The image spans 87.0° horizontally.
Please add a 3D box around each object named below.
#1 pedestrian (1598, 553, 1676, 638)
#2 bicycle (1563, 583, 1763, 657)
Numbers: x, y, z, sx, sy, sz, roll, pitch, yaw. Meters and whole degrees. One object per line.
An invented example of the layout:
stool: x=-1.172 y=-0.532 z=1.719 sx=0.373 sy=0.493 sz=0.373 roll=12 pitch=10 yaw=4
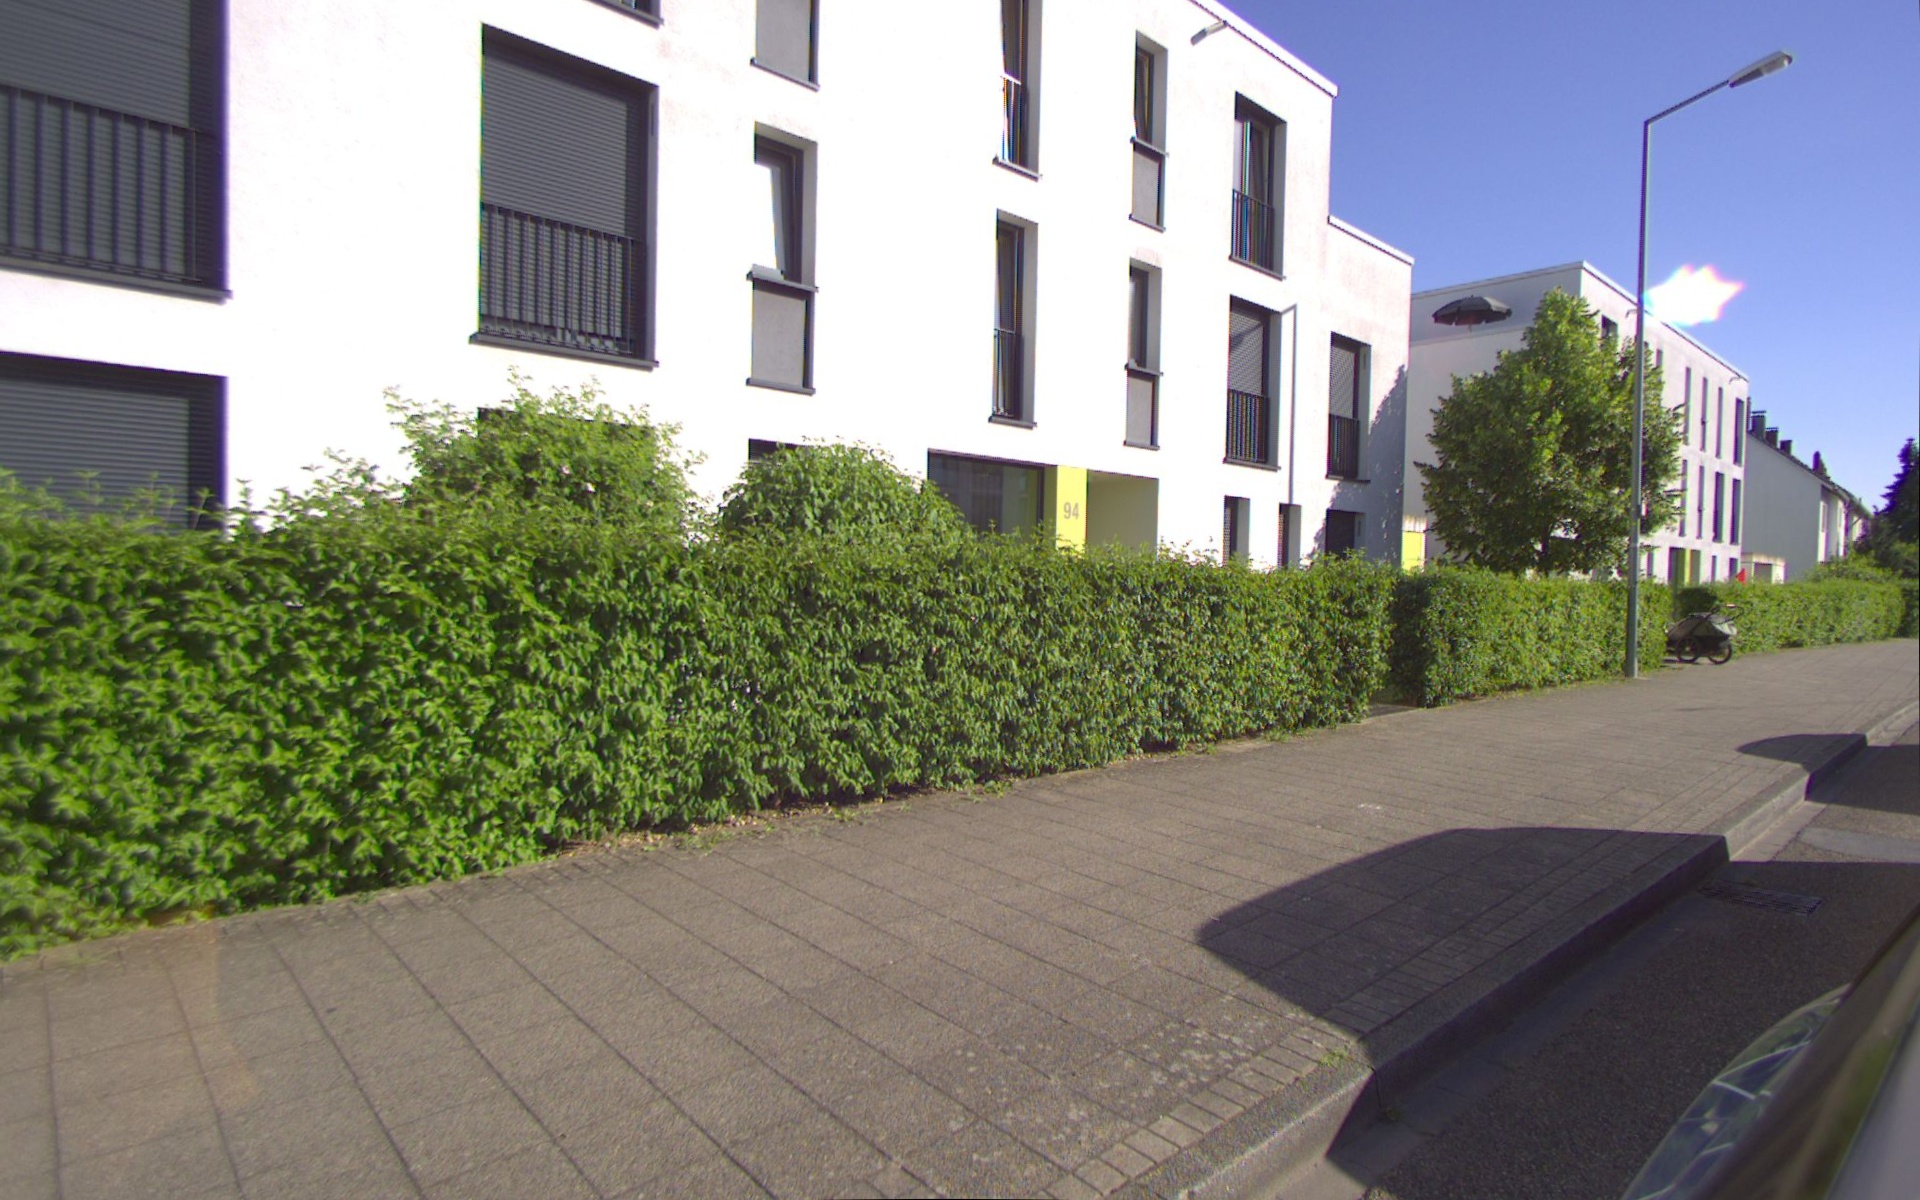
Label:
pedestrian: x=13.144 y=-0.104 z=19.663 sx=0.894 sy=1.613 sz=0.856 roll=1 pitch=2 yaw=-20
bicycle: x=13.281 y=0.333 z=19.299 sx=0.912 sy=1.187 sz=3.133 roll=1 pitch=2 yaw=-20
